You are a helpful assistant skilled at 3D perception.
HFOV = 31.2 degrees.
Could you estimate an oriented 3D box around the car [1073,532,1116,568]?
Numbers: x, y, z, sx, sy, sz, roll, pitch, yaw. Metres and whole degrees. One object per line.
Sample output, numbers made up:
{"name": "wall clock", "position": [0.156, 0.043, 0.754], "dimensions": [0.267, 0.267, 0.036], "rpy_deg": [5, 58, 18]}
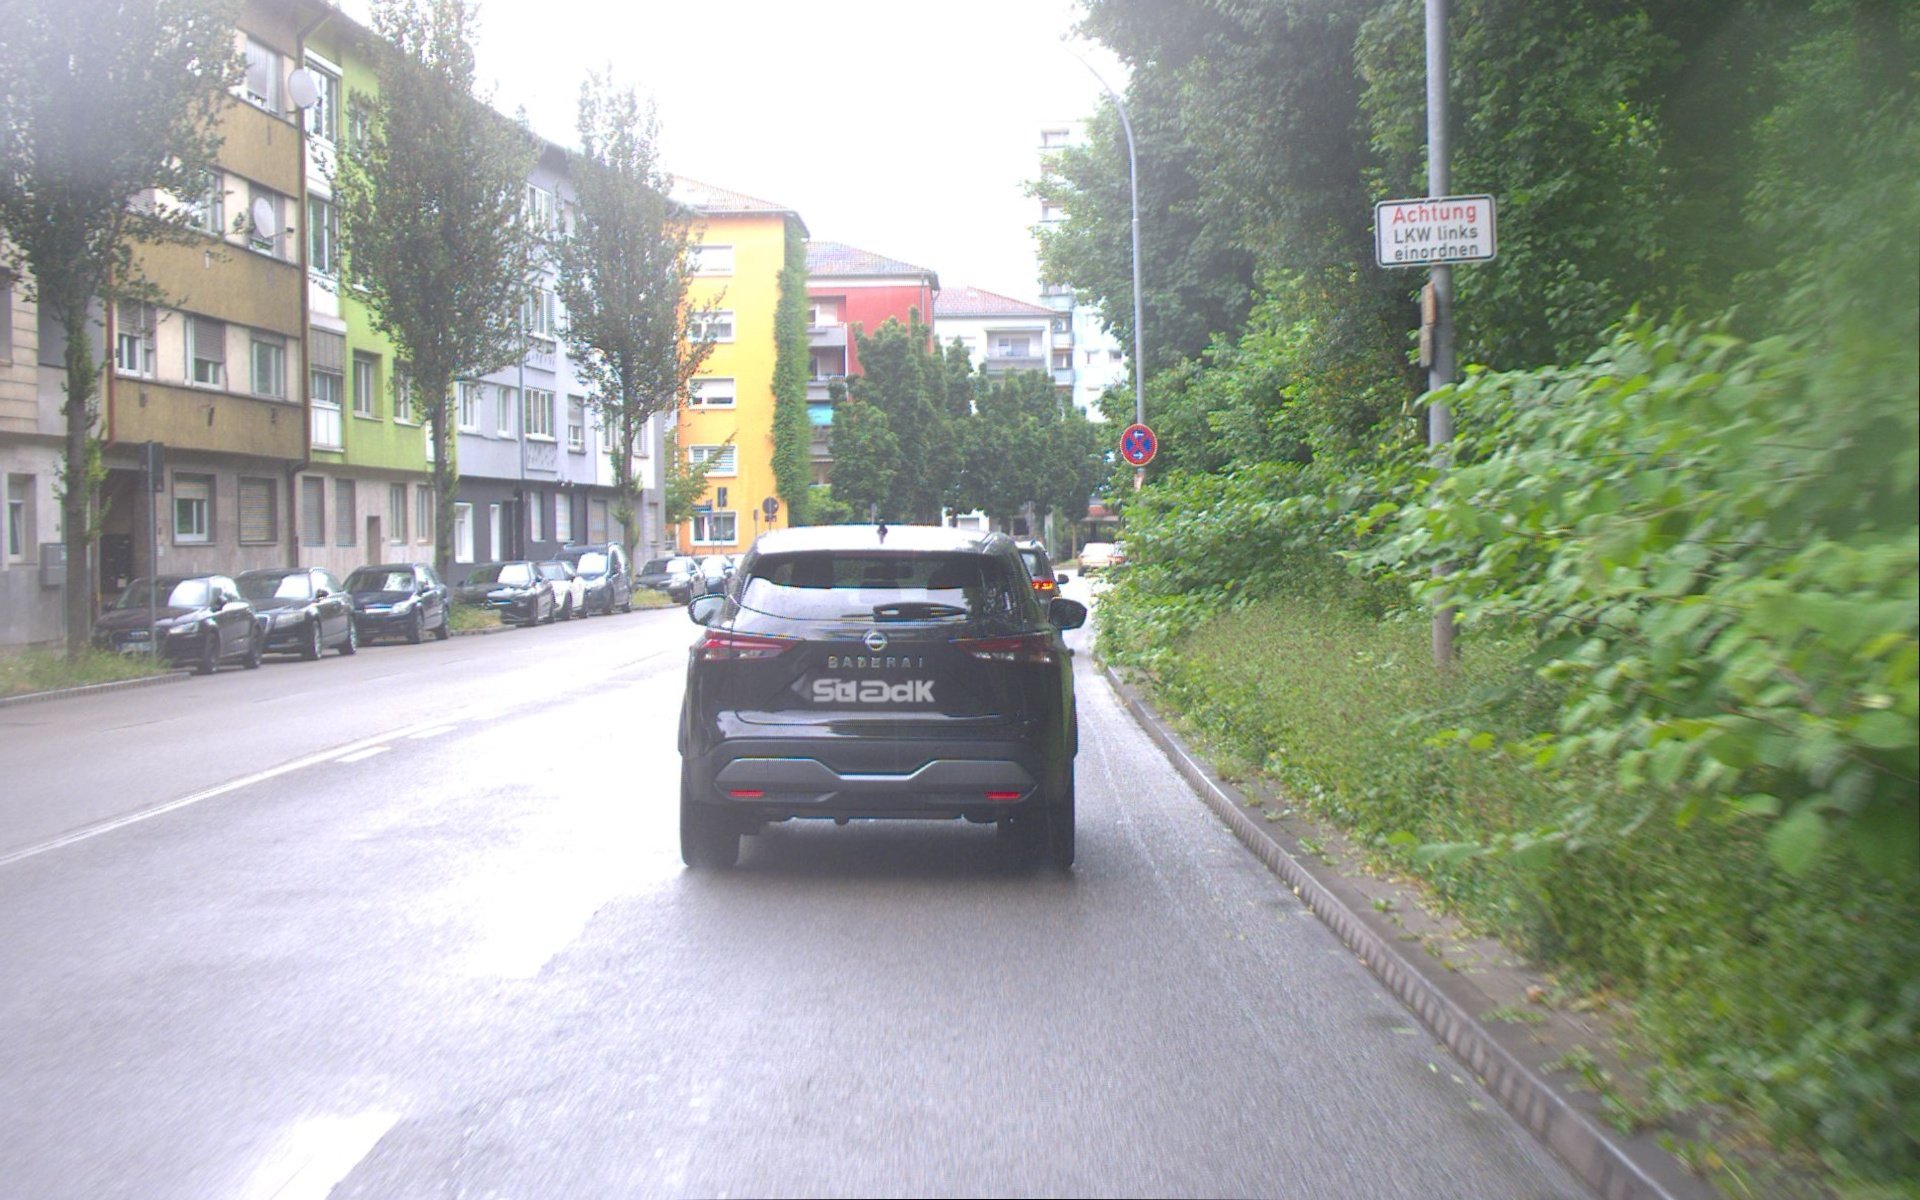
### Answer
{"name": "car", "position": [5.717, -2.133, 145.988], "dimensions": [1.706, 1.473, 3.680], "rpy_deg": [-1, 1, 3]}

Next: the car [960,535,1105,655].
{"name": "car", "position": [1.118, -0.108, 51.229], "dimensions": [1.887, 1.705, 3.999], "rpy_deg": [0, 1, 5]}

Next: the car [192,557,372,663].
{"name": "car", "position": [-10.777, 0.127, 54.973], "dimensions": [1.817, 1.483, 4.790], "rpy_deg": [-2, 1, 1]}

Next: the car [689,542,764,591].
{"name": "car", "position": [-7.522, -1.095, 111.021], "dimensions": [1.713, 1.420, 4.322], "rpy_deg": [-3, 1, 5]}

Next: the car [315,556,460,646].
{"name": "car", "position": [-10.592, -0.004, 63.856], "dimensions": [1.718, 1.483, 4.515], "rpy_deg": [-2, 1, 2]}

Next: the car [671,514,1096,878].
{"name": "car", "position": [-0.346, 0.372, 17.029], "dimensions": [1.845, 1.577, 4.000], "rpy_deg": [1, 1, 0]}

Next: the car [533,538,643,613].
{"name": "car", "position": [-9.360, -0.639, 86.870], "dimensions": [1.891, 1.760, 4.600], "rpy_deg": [-2, 1, 4]}

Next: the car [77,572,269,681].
{"name": "car", "position": [-11.059, 0.341, 48.550], "dimensions": [1.626, 1.382, 3.988], "rpy_deg": [-2, 1, 2]}

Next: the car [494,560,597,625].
{"name": "car", "position": [-9.783, -0.192, 81.362], "dimensions": [1.680, 1.371, 4.000], "rpy_deg": [-3, 1, 3]}

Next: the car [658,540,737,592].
{"name": "car", "position": [-8.004, -1.053, 105.269], "dimensions": [1.681, 1.444, 4.275], "rpy_deg": [-3, 1, 5]}

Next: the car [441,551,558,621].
{"name": "car", "position": [-10.093, -0.328, 75.620], "dimensions": [1.817, 1.367, 4.680], "rpy_deg": [-2, 1, 1]}

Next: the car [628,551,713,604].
{"name": "car", "position": [-8.375, -0.664, 99.812], "dimensions": [1.688, 1.353, 4.579], "rpy_deg": [-4, 1, 4]}
